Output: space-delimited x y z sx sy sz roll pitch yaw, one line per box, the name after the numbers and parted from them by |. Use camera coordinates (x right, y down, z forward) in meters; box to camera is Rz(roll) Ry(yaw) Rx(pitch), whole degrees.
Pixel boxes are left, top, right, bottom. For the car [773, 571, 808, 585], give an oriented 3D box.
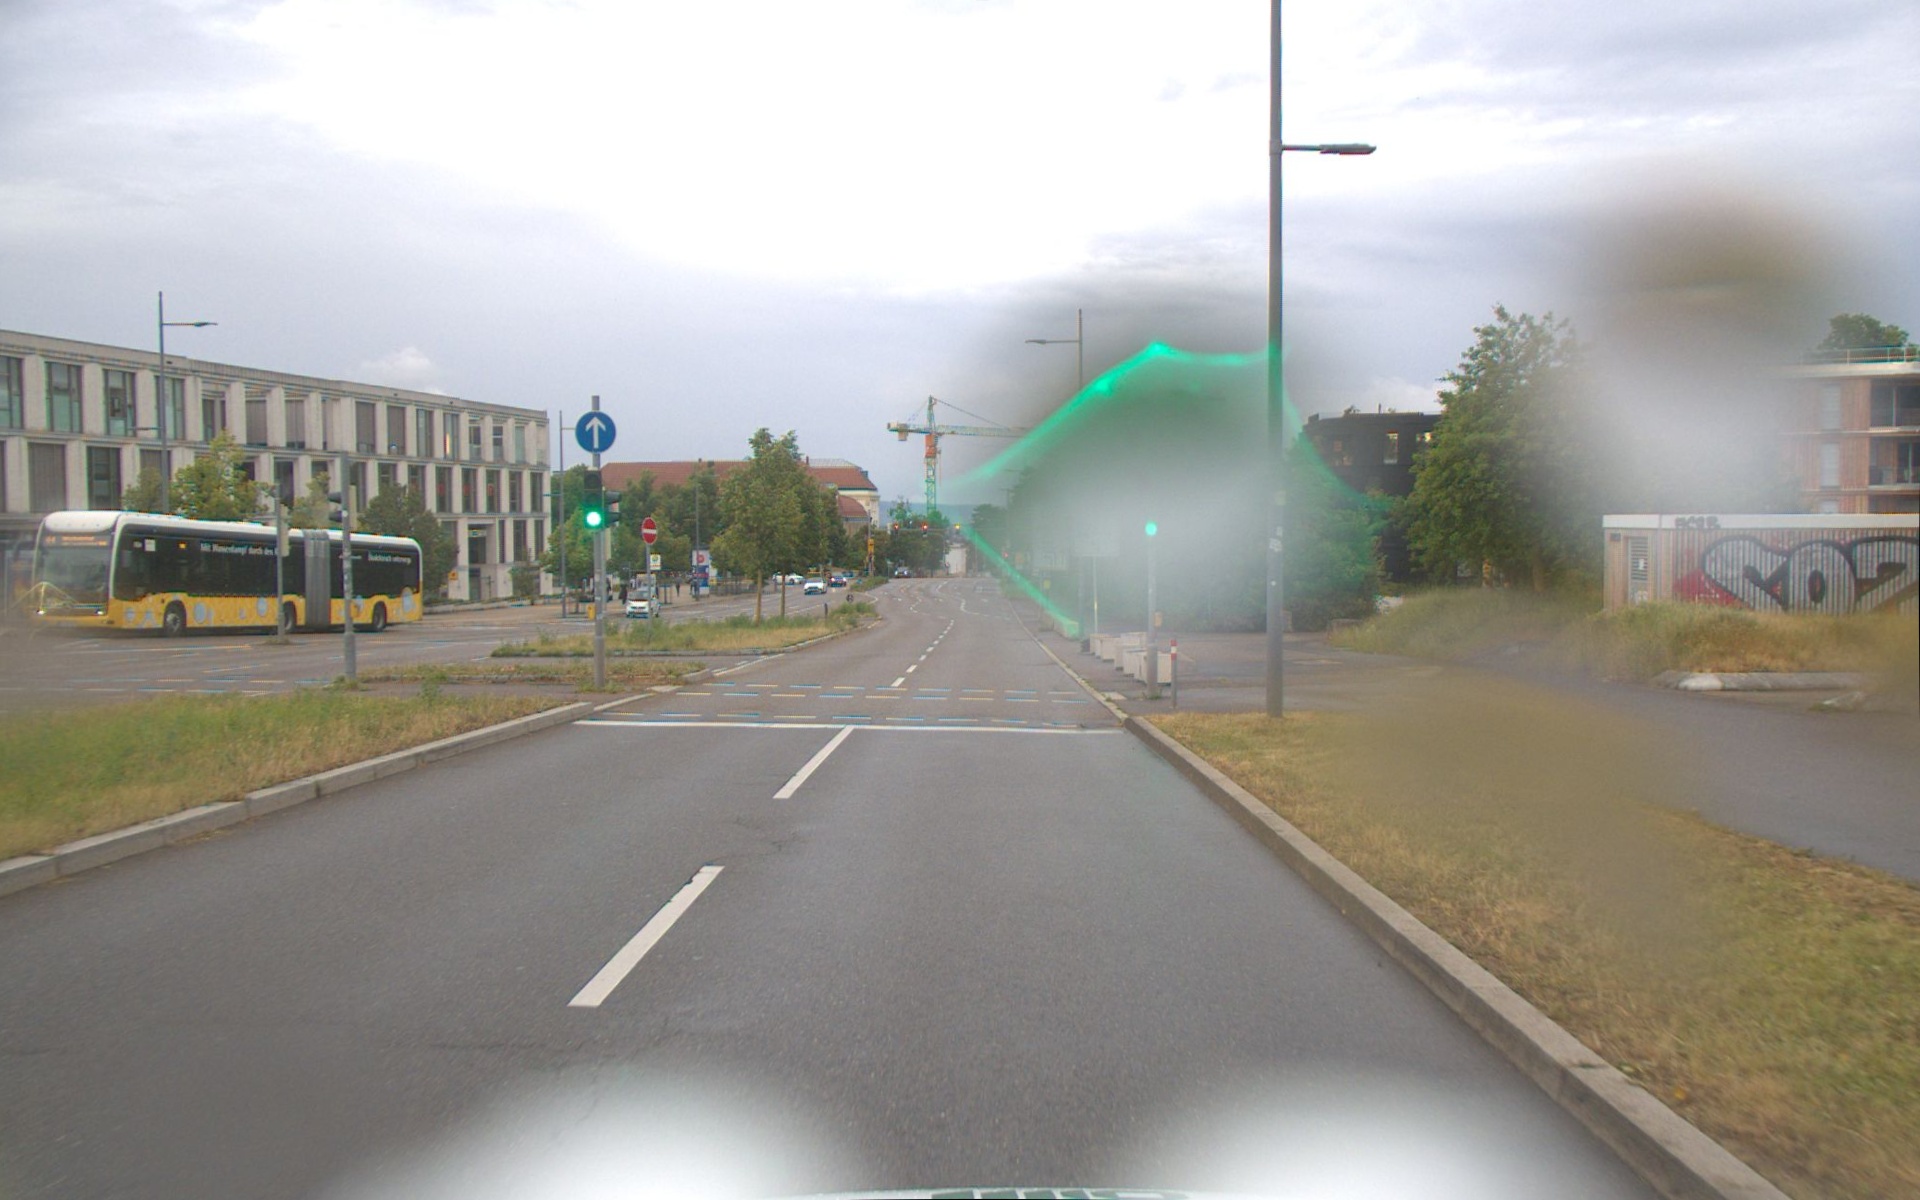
-19.692 -2.524 192.093 3.799 1.520 1.734 -1 -1 29 | car

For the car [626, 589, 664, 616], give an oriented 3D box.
-18.129 0.137 95.257 1.447 1.520 2.532 -1 -1 6 | car

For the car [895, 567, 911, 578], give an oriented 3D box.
-7.974 -3.846 231.984 1.732 1.520 4.070 -1 -1 5 | car

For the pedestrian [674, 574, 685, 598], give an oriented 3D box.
-23.434 -1.175 138.223 0.736 2.049 0.834 0 -1 -17 | pedestrian

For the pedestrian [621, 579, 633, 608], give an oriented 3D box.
-22.731 -0.454 112.838 0.736 1.981 0.834 0 -1 -17 | pedestrian

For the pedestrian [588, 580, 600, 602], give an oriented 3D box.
-26.699 -0.648 120.694 0.821 1.559 0.748 0 -1 -13 | pedestrian

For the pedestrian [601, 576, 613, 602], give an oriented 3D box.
-25.724 -0.781 120.531 0.736 1.885 0.834 0 -1 -17 | pedestrian

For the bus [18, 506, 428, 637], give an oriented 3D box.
-22.417 -0.617 52.786 2.725 3.416 18.239 -1 -1 8 | bus

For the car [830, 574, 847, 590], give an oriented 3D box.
-13.136 -1.937 179.002 1.735 1.520 4.062 0 -1 -6 | car

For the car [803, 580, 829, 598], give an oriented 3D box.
-13.148 -1.012 150.973 1.732 1.520 4.070 -1 -1 5 | car
